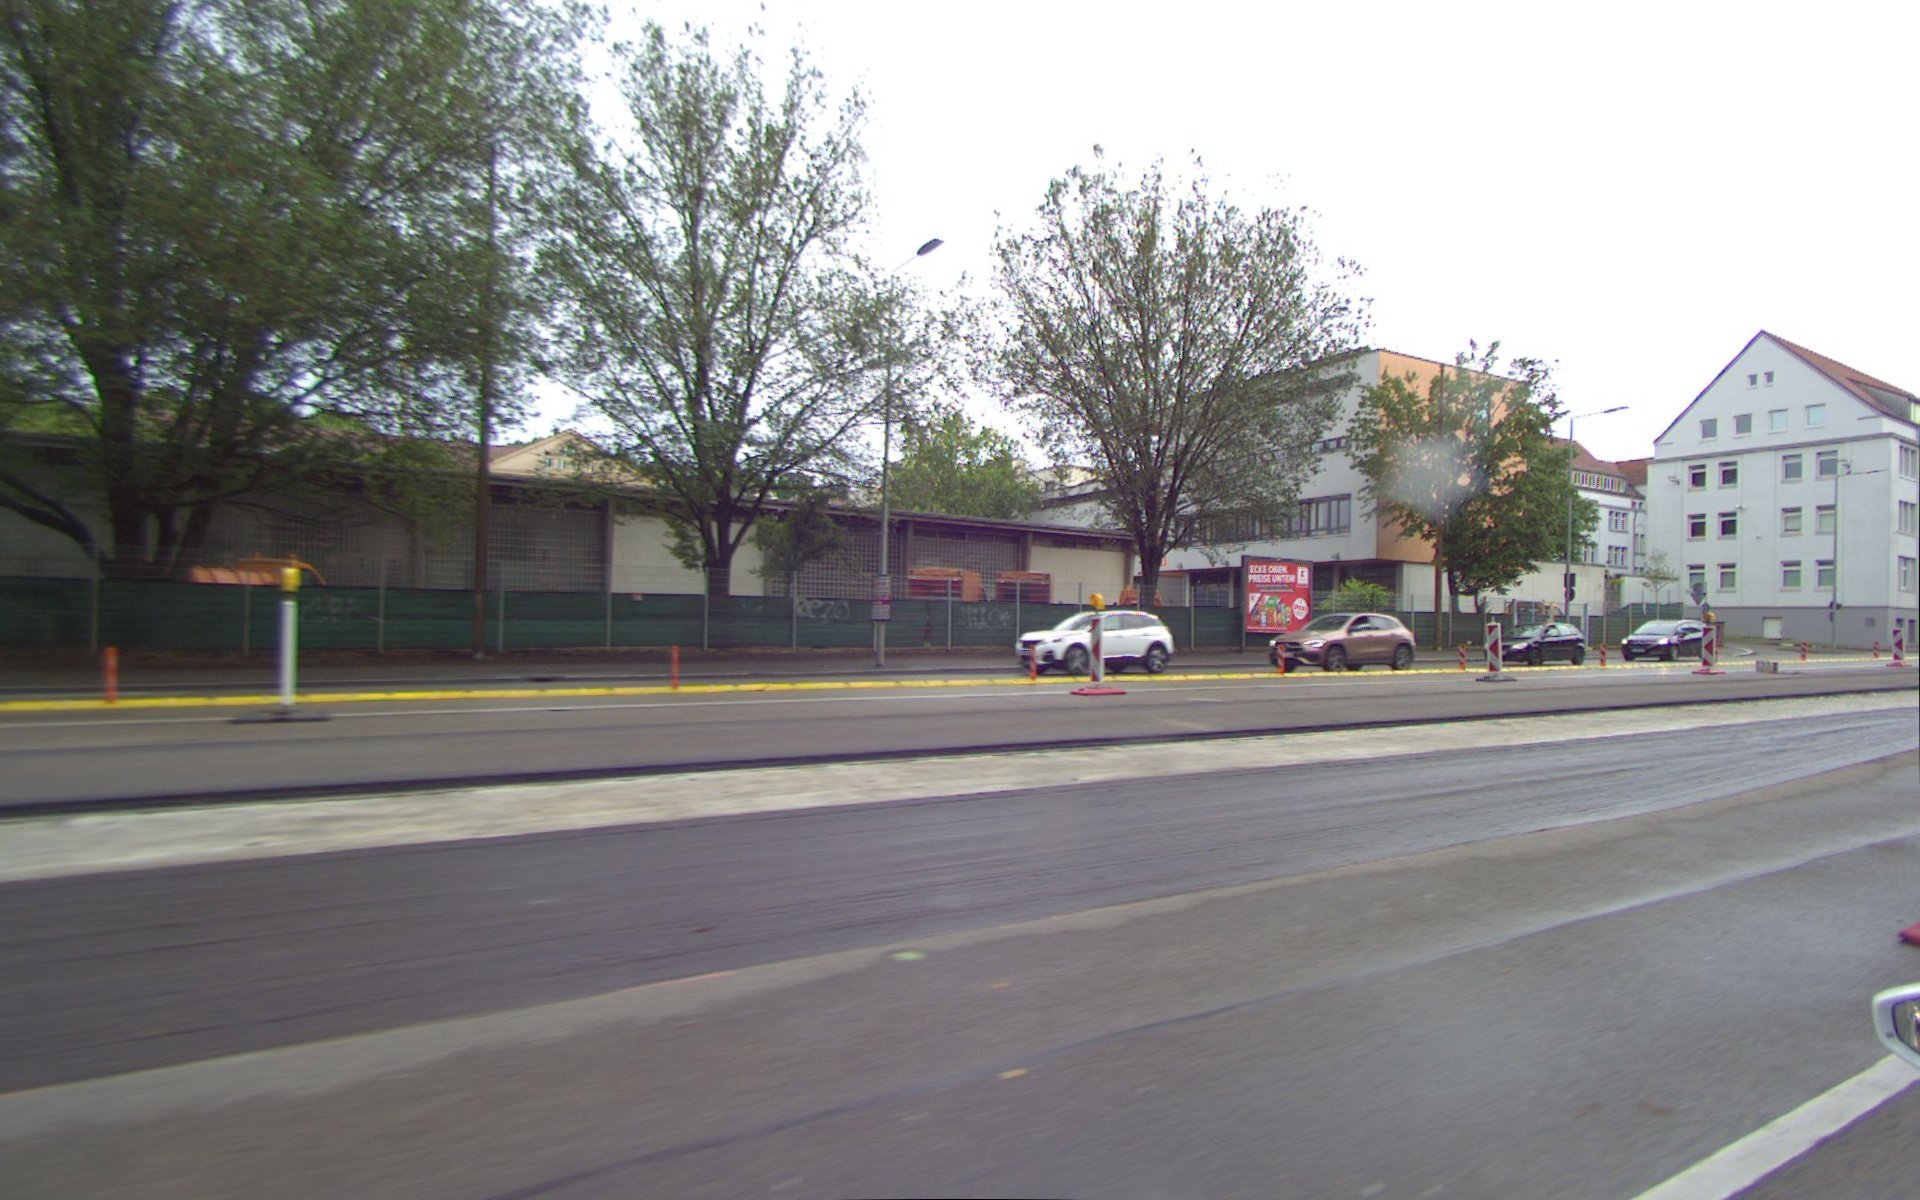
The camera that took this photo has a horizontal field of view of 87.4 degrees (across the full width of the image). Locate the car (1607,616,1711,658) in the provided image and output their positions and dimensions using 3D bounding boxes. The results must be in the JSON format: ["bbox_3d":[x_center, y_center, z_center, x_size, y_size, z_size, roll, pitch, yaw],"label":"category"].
[{"bbox_3d":[28.617,1.526,41.131,4.278,1.651,1.851,1,-3,-30],"label":"car"}]

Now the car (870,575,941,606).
[{"bbox_3d":[-2.045,-0.355,39.021,1.718,1.076,4.026,0,-1,13],"label":"car"}]

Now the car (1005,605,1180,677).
[{"bbox_3d":[3.467,1.084,26.173,4.314,1.728,1.851,1,-3,-30],"label":"car"}]

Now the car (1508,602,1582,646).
[{"bbox_3d":[29.872,1.215,51.237,3.955,2.199,1.602,1,-1,-32],"label":"car"}]

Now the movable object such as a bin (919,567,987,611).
[{"bbox_3d":[-0.207,-0.381,38.435,1.718,1.548,4.026,0,-1,13],"label":"movable object such as a bin"}]

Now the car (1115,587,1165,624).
[{"bbox_3d":[7.781,0.267,43.655,1.959,1.548,4.026,0,-1,8],"label":"car"}]

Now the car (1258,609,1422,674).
[{"bbox_3d":[10.320,1.142,27.242,4.314,1.640,1.851,1,-3,-30],"label":"car"}]

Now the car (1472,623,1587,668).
[{"bbox_3d":[19.651,1.574,34.667,3.688,1.495,1.851,1,-3,-30],"label":"car"}]
